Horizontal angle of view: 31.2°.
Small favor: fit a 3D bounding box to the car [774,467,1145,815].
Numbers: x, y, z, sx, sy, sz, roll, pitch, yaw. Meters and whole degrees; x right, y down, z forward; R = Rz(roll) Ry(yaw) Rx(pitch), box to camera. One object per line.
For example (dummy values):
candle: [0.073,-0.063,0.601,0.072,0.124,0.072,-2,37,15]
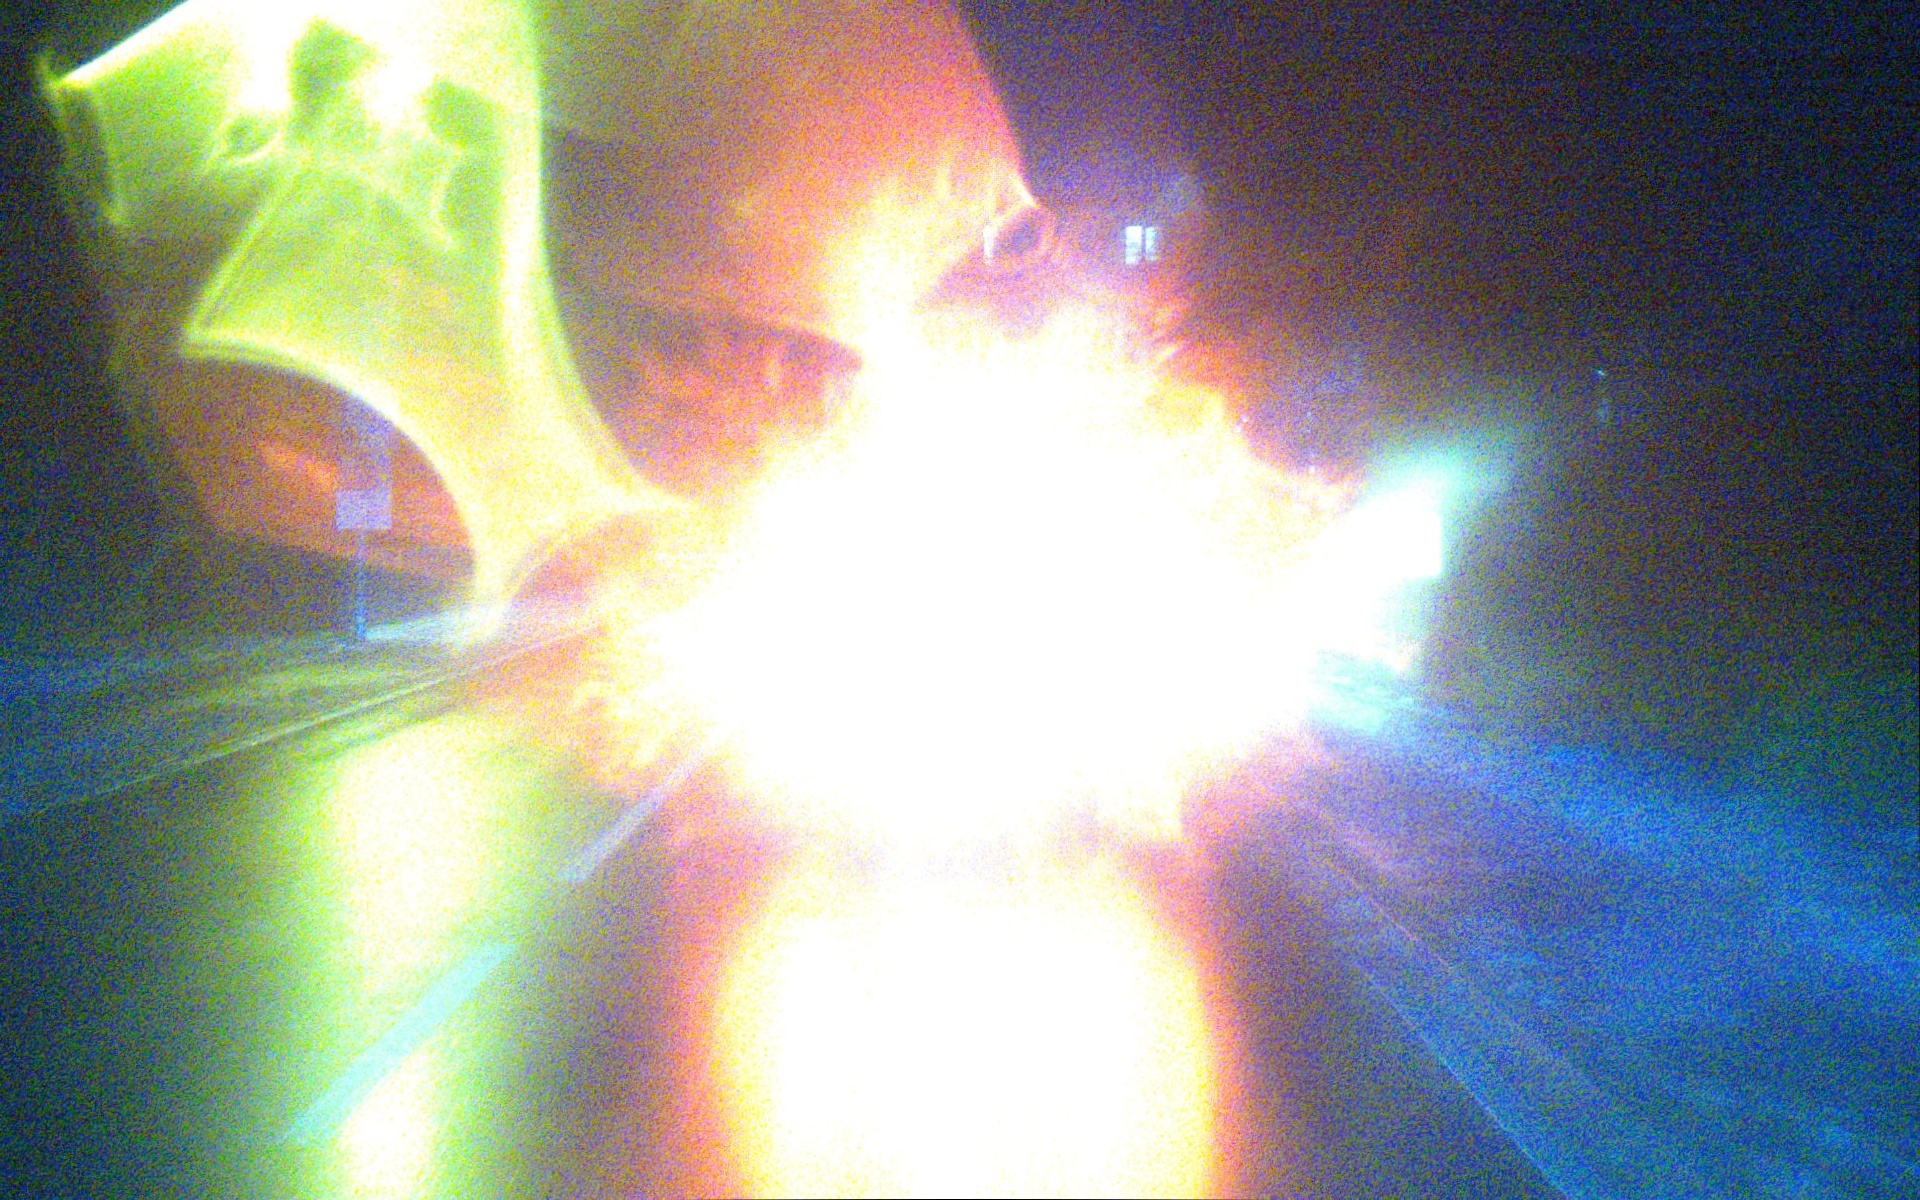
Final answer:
car: [0.072,0.156,18.544,1.791,1.675,3.904,0,1,2]
